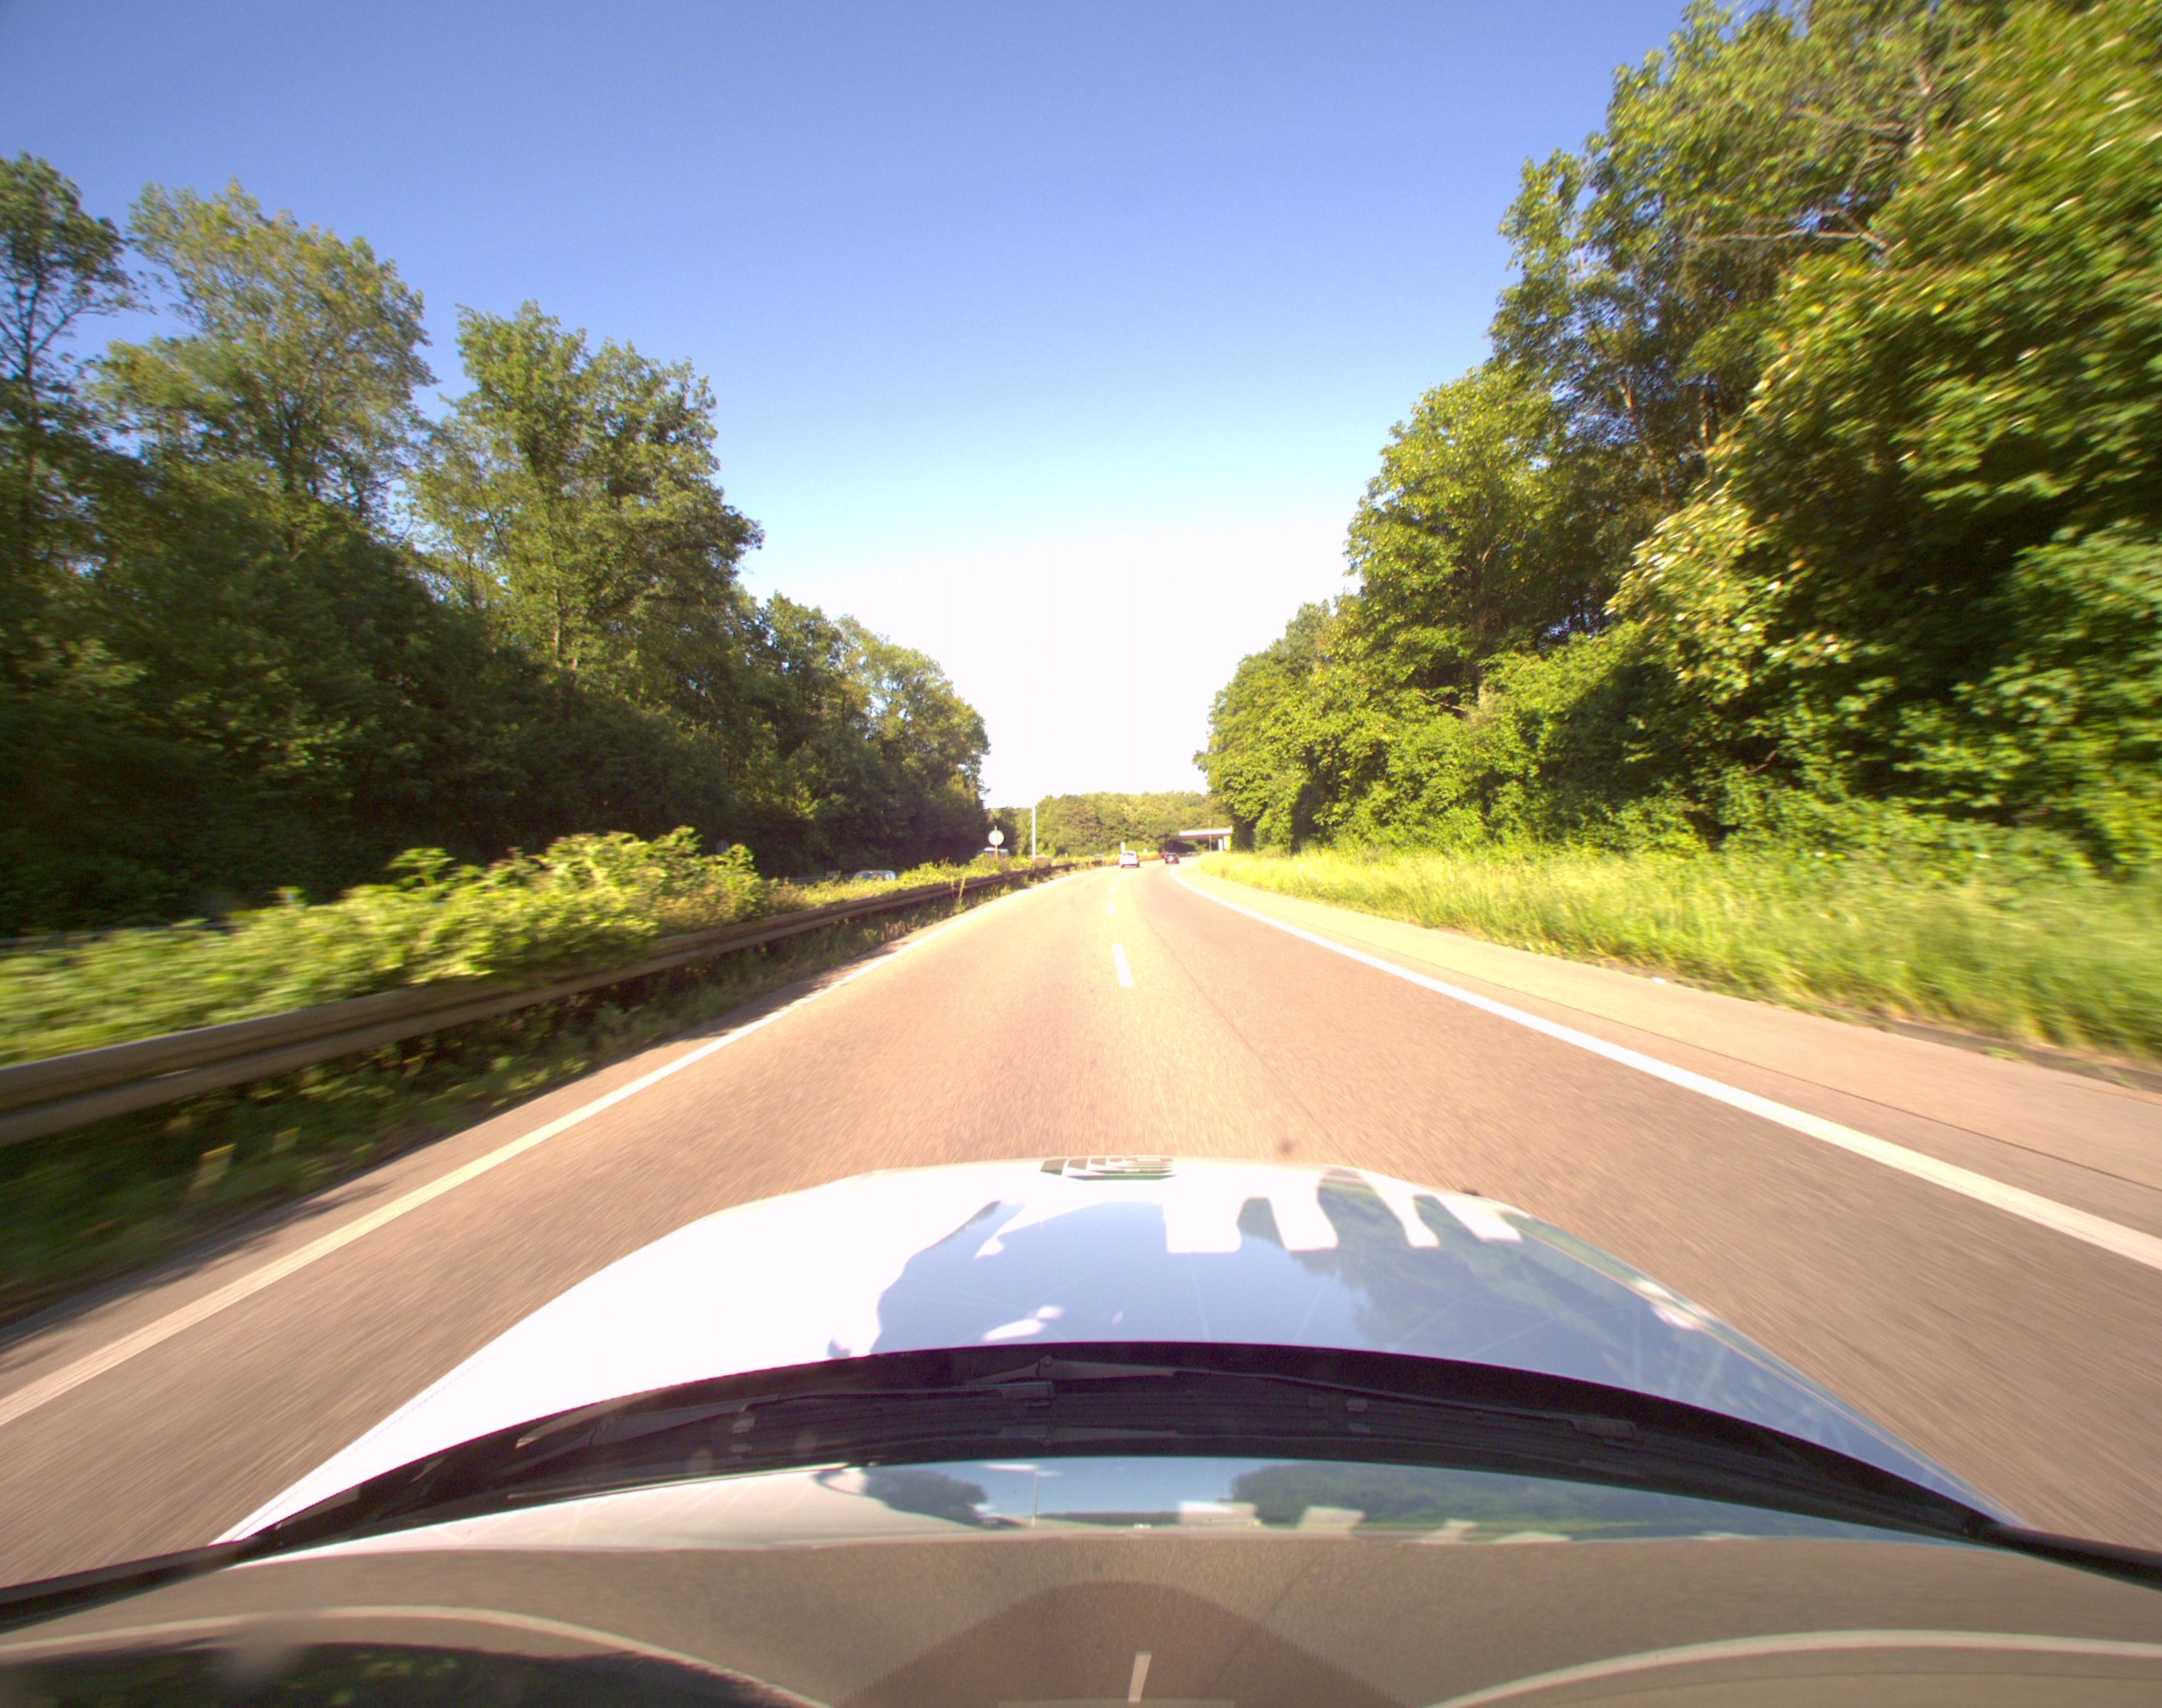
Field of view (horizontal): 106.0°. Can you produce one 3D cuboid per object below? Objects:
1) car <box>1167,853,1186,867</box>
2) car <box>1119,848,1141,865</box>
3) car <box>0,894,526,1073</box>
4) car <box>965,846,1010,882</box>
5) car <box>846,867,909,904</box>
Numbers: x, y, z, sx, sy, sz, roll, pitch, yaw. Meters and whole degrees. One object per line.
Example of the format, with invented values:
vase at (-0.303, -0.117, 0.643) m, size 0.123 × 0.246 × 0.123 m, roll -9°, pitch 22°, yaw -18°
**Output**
car at (13.338, 0.830, 113.583) m, size 1.937 × 1.782 × 4.606 m, roll -1°, pitch -1°, yaw 15°
car at (5.352, 0.288, 87.916) m, size 1.940 × 1.782 × 4.598 m, roll -1°, pitch -1°, yaw 8°
car at (-9.135, 1.290, 9.776) m, size 1.806 × 1.414 × 4.714 m, roll -1°, pitch -1°, yaw -2°
car at (-7.041, 0.714, 61.852) m, size 2.064 × 2.574 × 5.795 m, roll -1°, pitch 0°, yaw 6°
car at (-8.579, 1.298, 34.559) m, size 1.643 × 1.413 × 3.778 m, roll -1°, pitch 0°, yaw 1°
